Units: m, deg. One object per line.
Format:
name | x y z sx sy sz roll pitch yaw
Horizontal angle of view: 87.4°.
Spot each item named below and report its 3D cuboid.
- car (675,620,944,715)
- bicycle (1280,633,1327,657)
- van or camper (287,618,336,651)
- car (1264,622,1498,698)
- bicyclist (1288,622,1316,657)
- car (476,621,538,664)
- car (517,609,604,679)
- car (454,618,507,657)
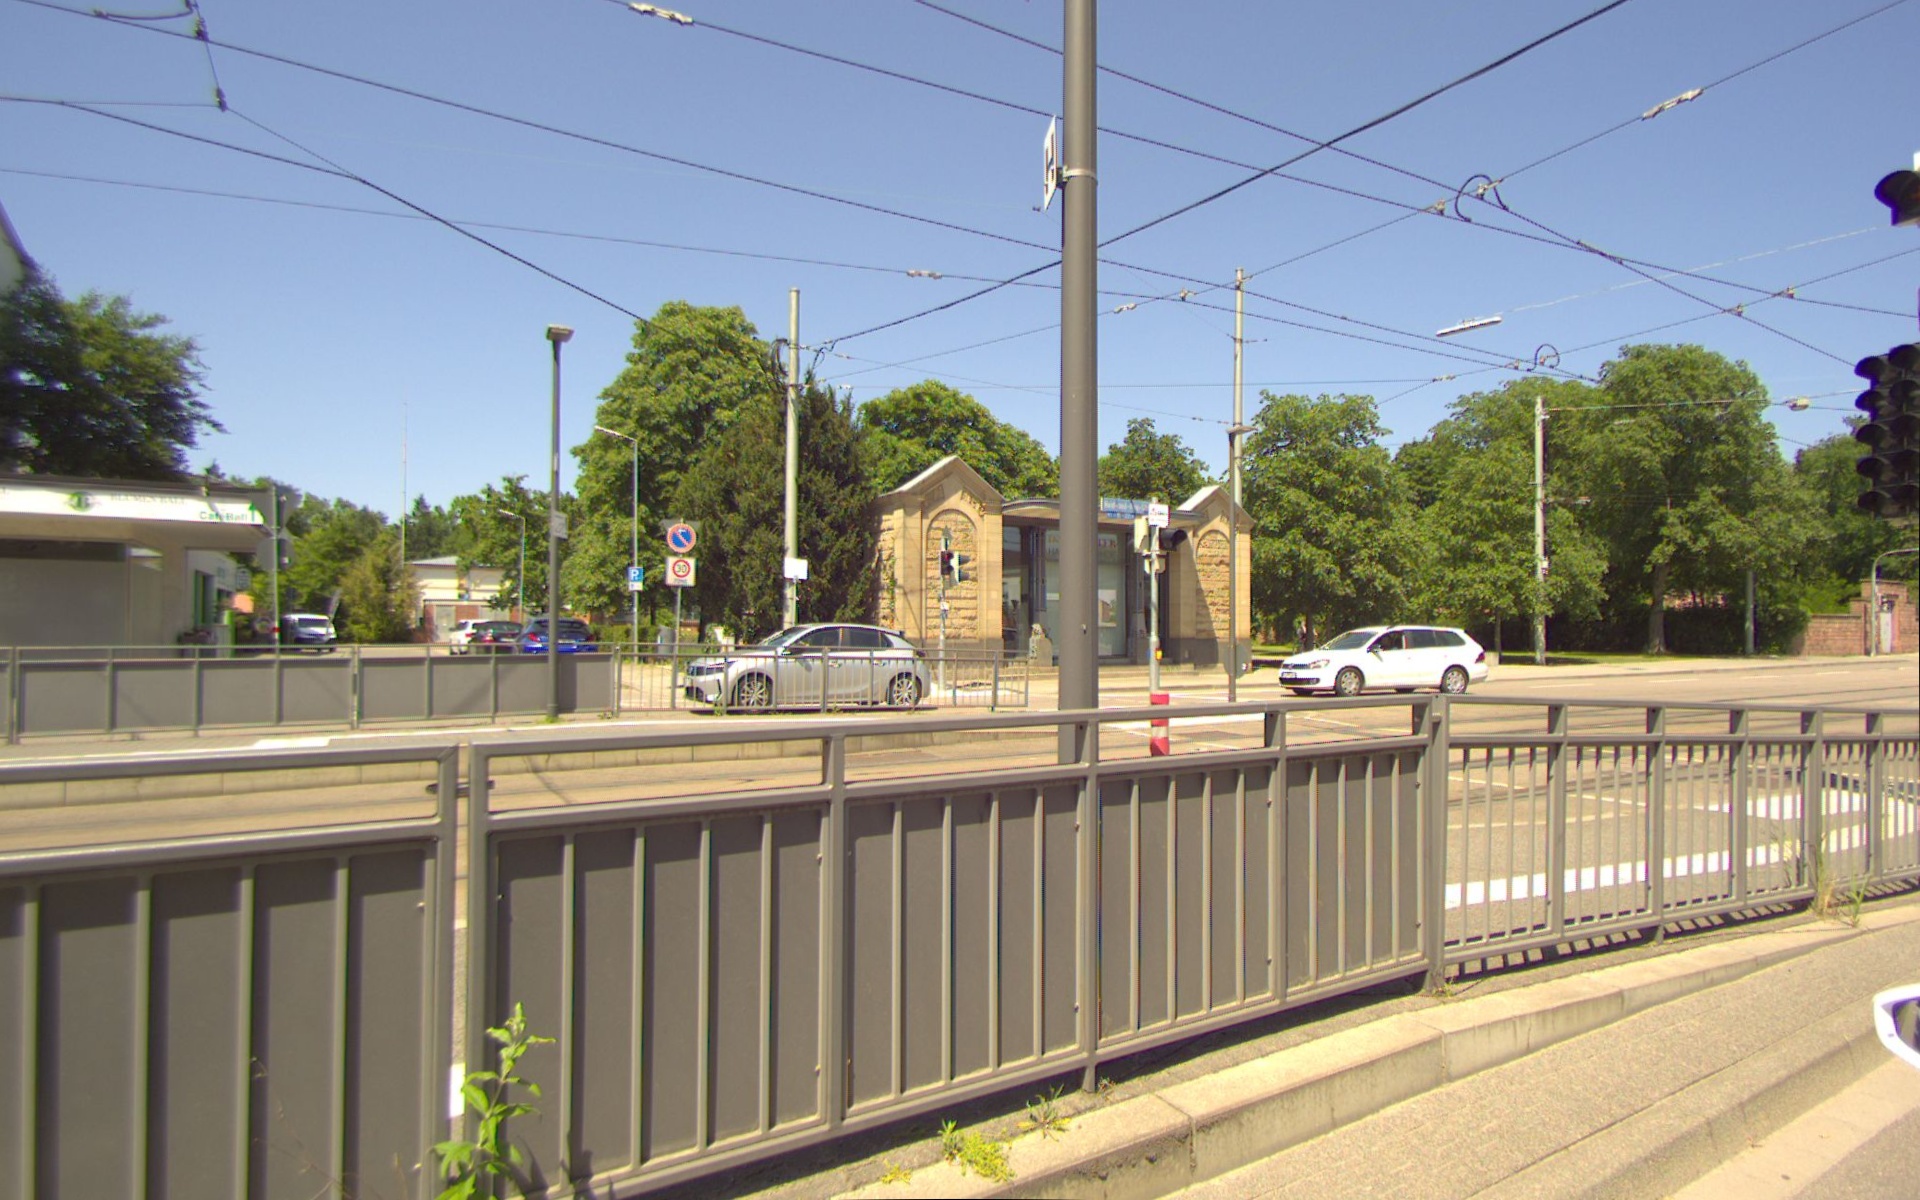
car | -2.433 1.063 16.392 4.000 1.380 1.811 1 -3 -28
bicycle | 15.228 1.982 44.565 0.708 1.055 2.088 1 -1 -28
van or camper | -32.193 1.691 49.830 1.676 1.587 3.784 1 -2 -38
car | 8.909 1.244 21.348 4.423 1.509 1.819 1 -1 -14
bicyclist | 15.191 1.744 44.629 0.843 1.551 0.839 1 -1 -28
car | -15.360 1.434 33.981 1.624 1.388 3.785 1 -3 -29
car | -9.933 1.029 24.810 1.799 1.472 3.934 1 1 -25
car | -18.910 1.480 39.562 1.625 1.465 3.784 1 -3 -29
